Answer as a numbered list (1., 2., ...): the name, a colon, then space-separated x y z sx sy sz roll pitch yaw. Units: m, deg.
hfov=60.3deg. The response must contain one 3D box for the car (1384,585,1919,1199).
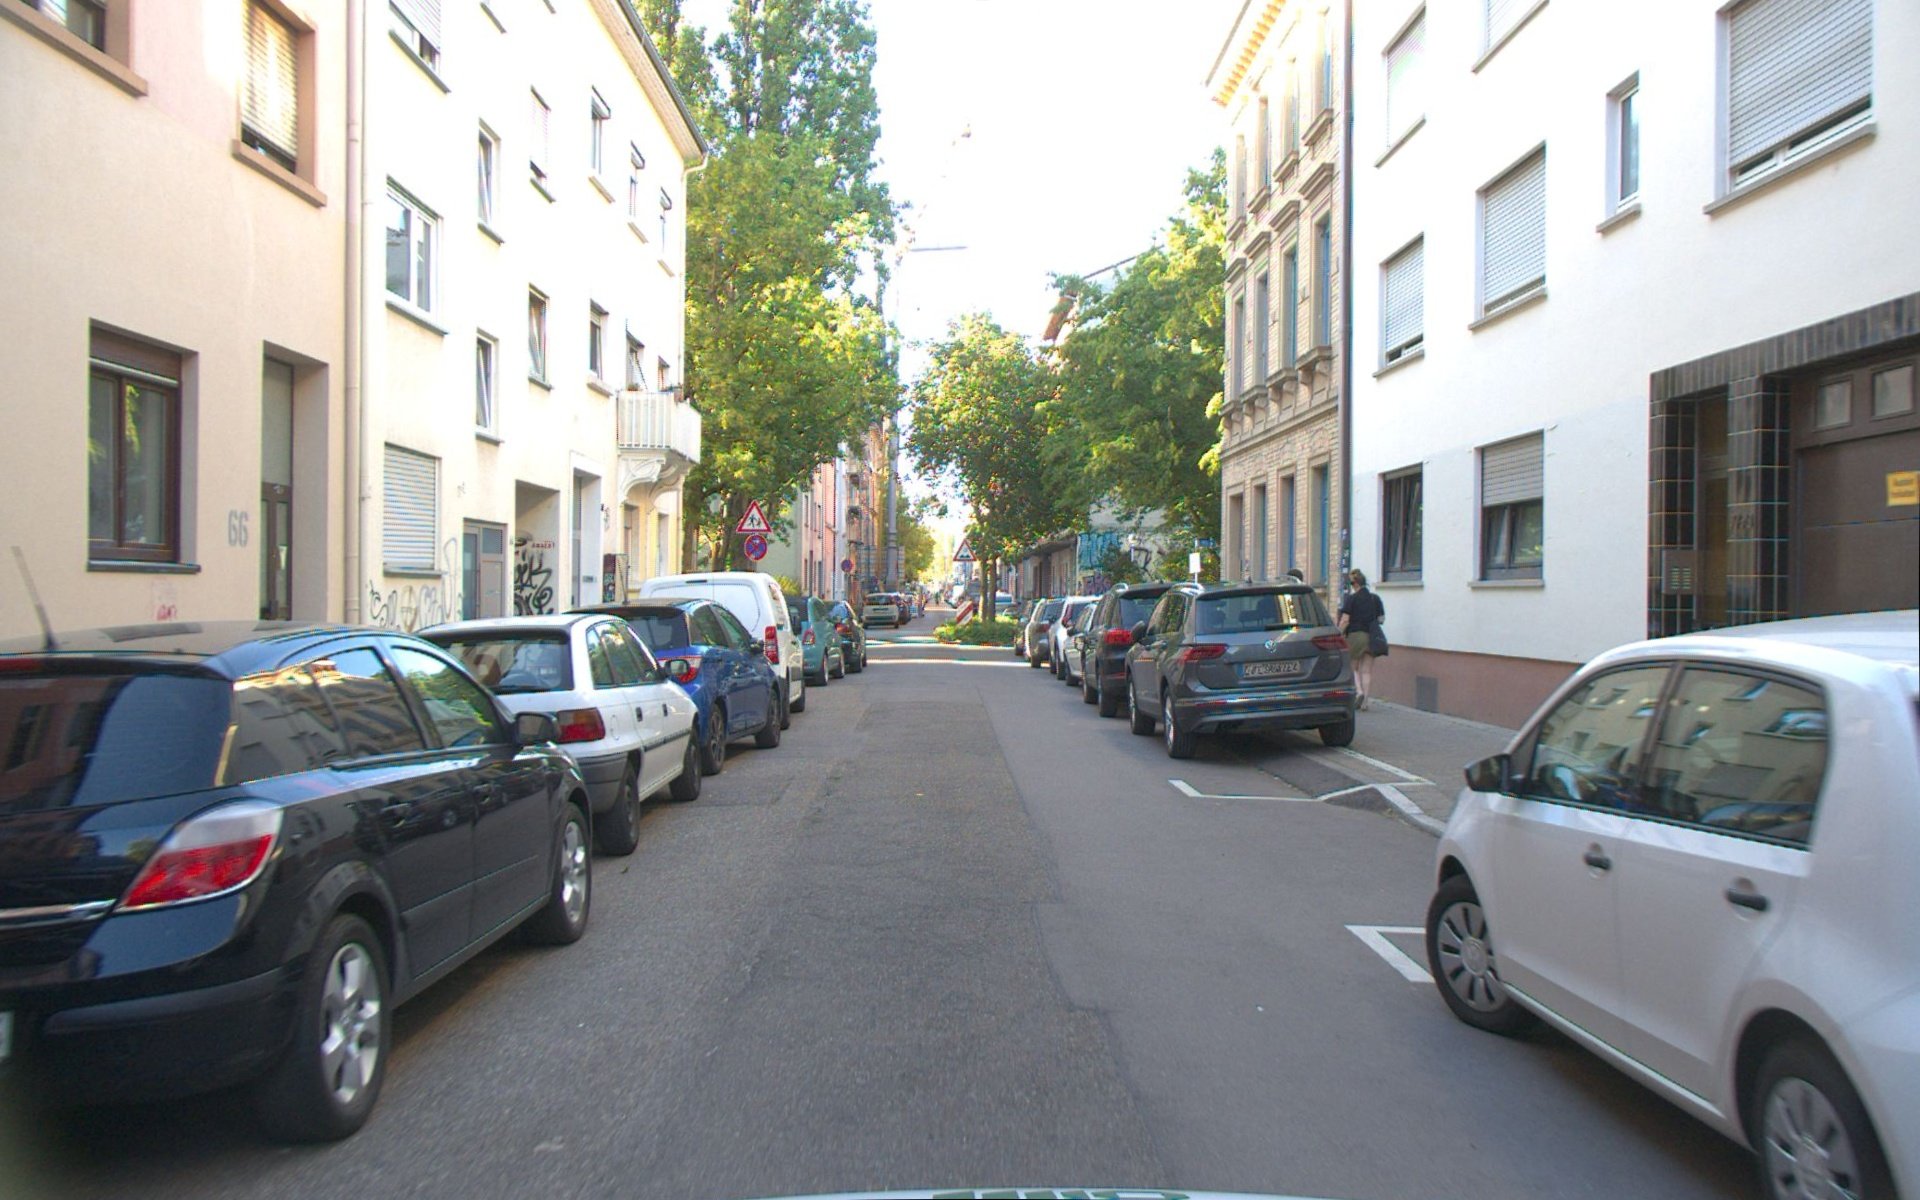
1. car: 2.671 0.740 5.042 1.642 1.533 3.936 -1 0 -1

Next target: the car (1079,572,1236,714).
1. car: 2.587 0.547 22.487 1.641 1.711 4.094 -1 0 0

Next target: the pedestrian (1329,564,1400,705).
1. pedestrian: 4.926 0.411 20.167 0.671 1.689 0.717 0 0 -1

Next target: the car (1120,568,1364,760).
1. car: 2.795 0.576 17.285 1.642 1.655 4.249 -4 0 -1

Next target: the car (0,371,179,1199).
1. car: -2.349 0.607 0.721 1.707 1.842 4.673 -1 0 1

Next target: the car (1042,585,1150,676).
1. car: 2.542 0.536 31.709 1.642 1.588 3.795 -1 0 -1

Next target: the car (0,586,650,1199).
1. car: -2.463 0.740 6.121 1.707 1.533 4.347 -1 0 1

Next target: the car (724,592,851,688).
1. car: -2.931 0.642 28.859 1.635 1.495 3.821 -1 0 2

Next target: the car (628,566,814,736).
1. car: -2.786 0.541 20.101 1.729 1.816 4.038 -1 0 -1

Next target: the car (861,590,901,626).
1. car: -3.526 0.320 74.054 1.642 1.513 4.093 -1 0 -1

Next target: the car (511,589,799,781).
1. car: -2.682 0.682 15.454 1.638 1.512 3.994 -1 0 4

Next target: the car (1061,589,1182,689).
1. car: 2.622 0.596 27.499 1.535 1.509 3.618 -1 0 -1

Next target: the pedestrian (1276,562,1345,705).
1. pedestrian: 4.229 0.394 19.993 0.671 1.689 0.717 0 0 -1

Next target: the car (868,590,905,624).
1. car: -3.512 0.313 79.476 1.642 1.513 4.093 -1 0 -1

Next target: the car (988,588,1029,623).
1. car: 2.206 0.250 75.511 1.642 1.513 3.637 -1 0 -1

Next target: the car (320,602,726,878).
1. car: -2.673 0.763 11.094 1.639 1.412 4.181 -1 0 -1

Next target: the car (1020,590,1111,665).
1. car: 2.284 0.564 36.609 1.642 1.513 4.093 -1 0 -1

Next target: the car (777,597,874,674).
1. car: -2.627 0.661 32.984 1.636 1.385 4.048 -1 0 -1
